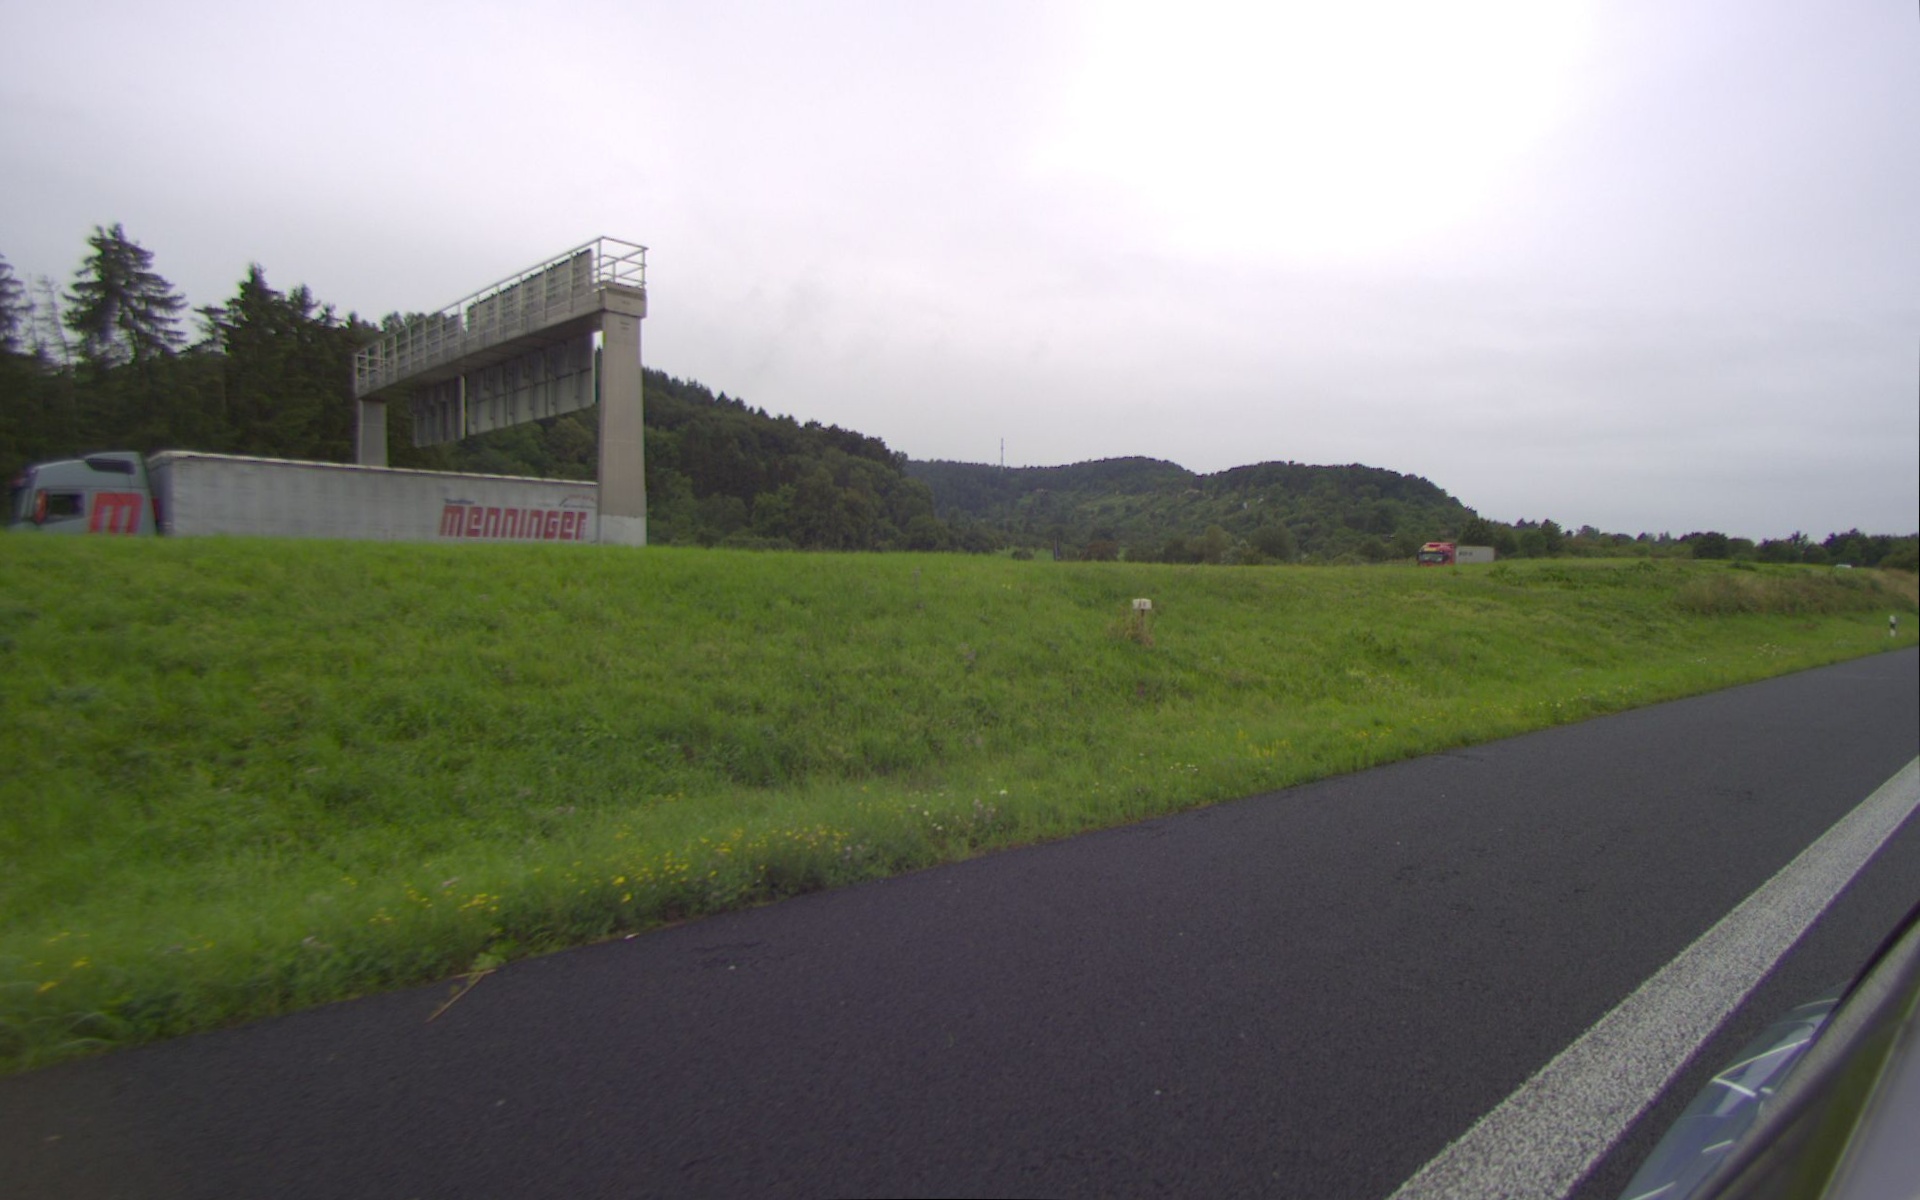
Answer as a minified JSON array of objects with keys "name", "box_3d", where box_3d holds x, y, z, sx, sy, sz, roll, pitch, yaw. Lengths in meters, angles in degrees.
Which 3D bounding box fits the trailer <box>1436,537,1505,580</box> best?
[{"name":"trailer","box_3d":[51.600,-4.055,101.990,12.203,4.034,2.492,0,0,-45]}]

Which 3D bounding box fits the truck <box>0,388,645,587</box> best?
[{"name":"truck","box_3d":[-18.016,-2.704,30.539,3.820,4.597,16.623,1,1,43]}]

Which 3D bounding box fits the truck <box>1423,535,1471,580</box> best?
[{"name":"truck","box_3d":[46.820,-4.016,97.231,2.508,4.037,5.833,-1,0,44]}]
